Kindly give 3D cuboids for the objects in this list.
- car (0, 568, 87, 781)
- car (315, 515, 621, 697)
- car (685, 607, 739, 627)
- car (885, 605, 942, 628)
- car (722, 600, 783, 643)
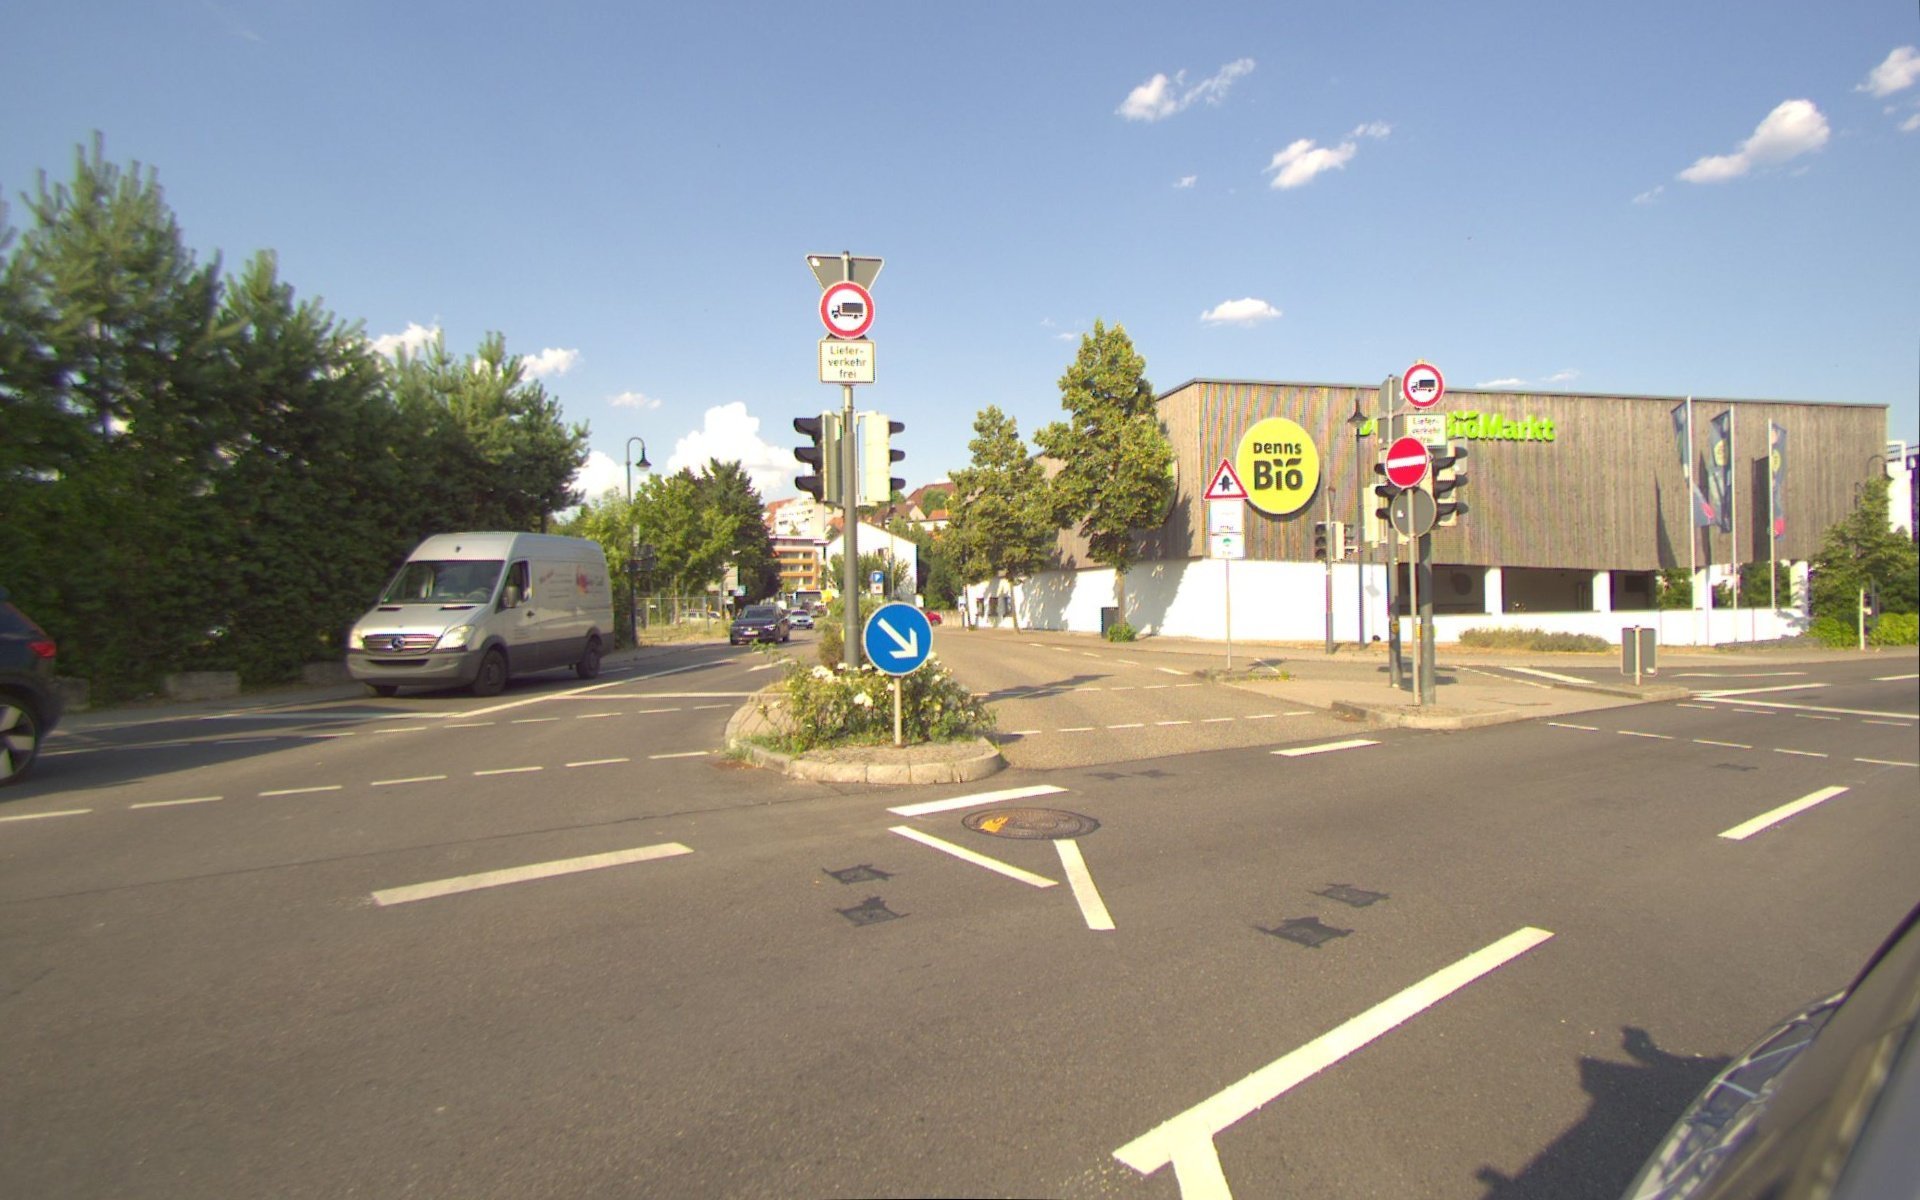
[{"bbox_3d":[-8.076,0.560,6.142,1.760,1.587,4.268,0,0,3],"label":"car"},{"bbox_3d":[-7.957,0.062,17.255,2.154,2.553,5.856,0,0,3],"label":"car"},{"bbox_3d":[-20.502,1.372,83.707,4.225,1.473,1.899,-1,1,-14],"label":"car"},{"bbox_3d":[-3.664,1.255,79.594,4.225,1.745,1.899,0,0,-14],"label":"car"},{"bbox_3d":[-7.683,0.755,37.764,1.821,1.471,4.004,0,0,-6],"label":"car"}]
